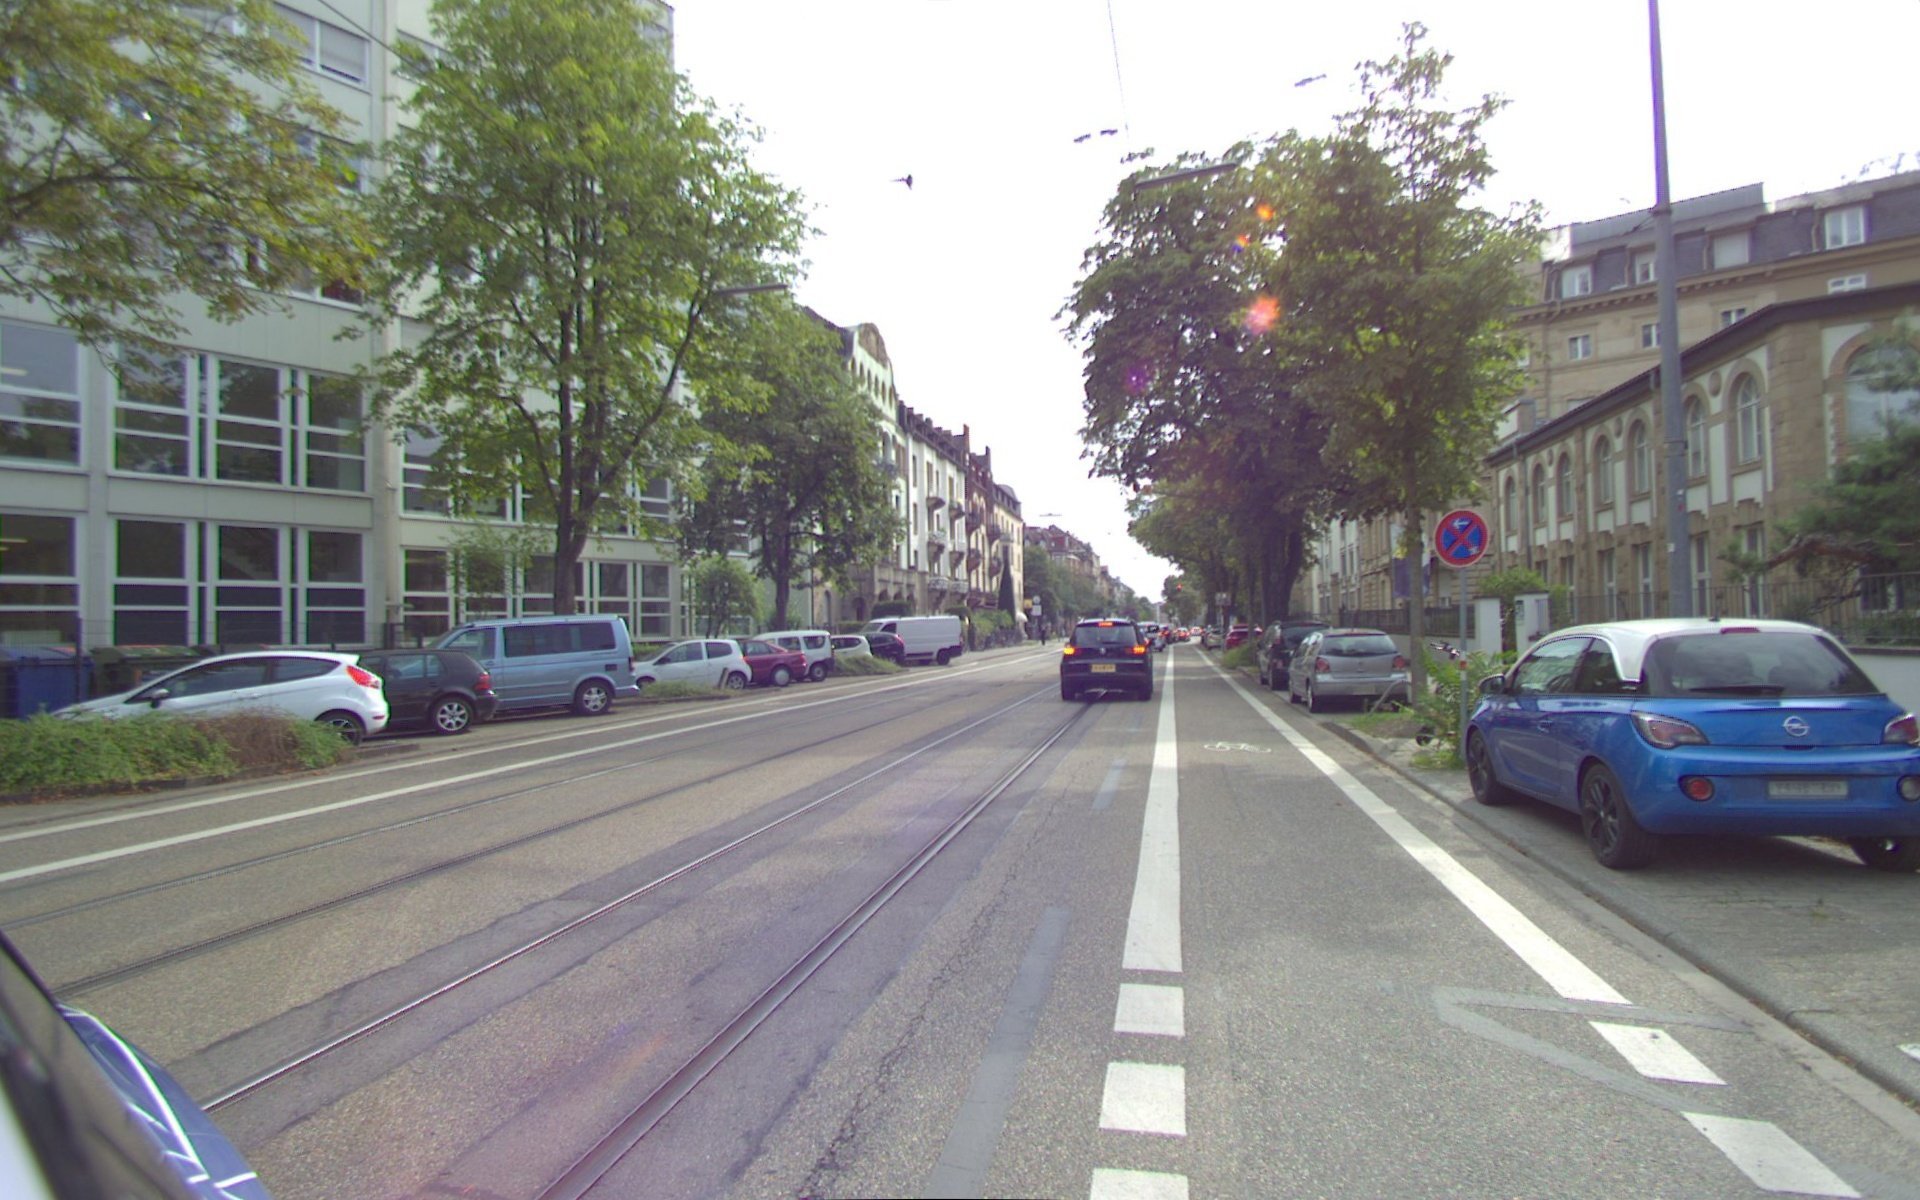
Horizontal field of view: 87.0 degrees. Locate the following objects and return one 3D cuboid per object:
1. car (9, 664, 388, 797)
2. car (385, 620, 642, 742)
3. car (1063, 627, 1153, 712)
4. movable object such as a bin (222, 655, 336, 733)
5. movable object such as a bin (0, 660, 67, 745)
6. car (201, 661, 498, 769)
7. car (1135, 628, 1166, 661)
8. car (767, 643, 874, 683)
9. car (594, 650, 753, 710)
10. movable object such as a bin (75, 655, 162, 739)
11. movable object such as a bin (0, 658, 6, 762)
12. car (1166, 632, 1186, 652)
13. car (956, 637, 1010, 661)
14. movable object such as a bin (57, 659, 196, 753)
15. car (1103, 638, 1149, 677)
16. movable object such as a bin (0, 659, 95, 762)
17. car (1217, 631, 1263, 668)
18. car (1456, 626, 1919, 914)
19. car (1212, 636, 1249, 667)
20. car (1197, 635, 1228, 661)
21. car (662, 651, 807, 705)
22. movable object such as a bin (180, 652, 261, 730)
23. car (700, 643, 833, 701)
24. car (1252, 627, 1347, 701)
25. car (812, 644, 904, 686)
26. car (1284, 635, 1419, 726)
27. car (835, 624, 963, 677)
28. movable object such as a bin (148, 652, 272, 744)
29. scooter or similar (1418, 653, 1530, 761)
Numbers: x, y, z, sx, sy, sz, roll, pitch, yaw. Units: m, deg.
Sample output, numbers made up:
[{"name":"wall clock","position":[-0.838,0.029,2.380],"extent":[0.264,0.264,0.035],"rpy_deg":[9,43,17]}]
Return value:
[{"name":"car","position":[-9.842,1.610,13.418],"extent":[3.798,1.403,1.638],"rpy_deg":[0,-3,-35]},{"name":"car","position":[-8.638,1.477,19.660],"extent":[4.273,2.080,2.005],"rpy_deg":[0,-3,-34]},{"name":"car","position":[3.276,1.428,21.837],"extent":[1.719,1.641,4.362],"rpy_deg":[-1,-2,11]},{"name":"movable object such as a bin","position":[-13.758,1.880,20.490],"extent":[1.323,1.469,1.393],"rpy_deg":[-2,-3,15]},{"name":"movable object such as a bin","position":[-17.832,1.929,19.210],"extent":[1.179,1.525,1.159],"rpy_deg":[-4,-3,40]},{"name":"car","position":[-9.719,1.777,16.295],"extent":[3.906,1.398,1.819],"rpy_deg":[0,-4,-34]},{"name":"car","position":[11.541,2.697,61.488],"extent":[1.718,1.899,4.364],"rpy_deg":[-2,-2,10]},{"name":"car","position":[-5.282,2.371,38.473],"extent":[3.584,1.340,1.772],"rpy_deg":[0,-2,-34]},{"name":"car","position":[-7.368,2.014,26.093],"extent":[3.584,1.340,1.772],"rpy_deg":[0,-2,-34]},{"name":"movable object such as a bin","position":[-16.973,1.927,20.421],"extent":[1.179,1.580,1.159],"rpy_deg":[-4,-3,40]},{"name":"movable object such as a bin","position":[-15.044,1.636,14.588],"extent":[1.318,1.541,1.408],"rpy_deg":[-2,-3,15]},{"name":"car","position":[20.979,4.047,98.408],"extent":[1.781,1.838,4.662],"rpy_deg":[-2,-3,11]},{"name":"car","position":[1.666,3.561,73.909],"extent":[3.584,1.688,1.772],"rpy_deg":[-1,-2,-15]},{"name":"movable object such as a bin","position":[-14.423,1.807,17.547],"extent":[1.323,1.514,1.347],"rpy_deg":[-2,-3,15]},{"name":"car","position":[6.969,2.375,42.131],"extent":[1.719,1.508,4.362],"rpy_deg":[-1,-3,11]},{"name":"movable object such as a bin","position":[-14.902,1.717,16.026],"extent":[1.323,1.515,1.331],"rpy_deg":[-2,-3,15]},{"name":"car","position":[13.014,2.287,47.200],"extent":[1.642,1.646,3.892],"rpy_deg":[-2,-3,11]},{"name":"car","position":[4.905,0.957,7.065],"extent":[1.616,1.476,3.590],"rpy_deg":[-2,-3,11]},{"name":"car","position":[14.860,2.794,55.723],"extent":[1.642,1.613,3.892],"rpy_deg":[-2,-3,11]},{"name":"car","position":[16.457,3.121,66.051],"extent":[1.642,1.646,3.892],"rpy_deg":[-2,-3,11]},{"name":"car","position":[-6.496,2.208,29.177],"extent":[3.705,1.349,1.820],"rpy_deg":[0,-2,-30]},{"name":"movable object such as a bin","position":[-15.860,1.934,21.718],"extent":[1.179,1.580,1.159],"rpy_deg":[-4,-3,40]},{"name":"car","position":[-6.113,2.221,32.012],"extent":[3.705,1.630,1.820],"rpy_deg":[0,-2,-30]},{"name":"car","position":[8.306,1.543,25.050],"extent":[1.642,1.646,3.712],"rpy_deg":[-2,-3,11]},{"name":"car","position":[-4.289,2.679,42.307],"extent":[3.584,1.601,1.772],"rpy_deg":[-1,-2,-15]},{"name":"car","position":[7.068,1.417,18.601],"extent":[1.616,1.476,3.561],"rpy_deg":[-2,-3,11]},{"name":"car","position":[-2.728,2.261,45.789],"extent":[5.346,2.192,2.155],"rpy_deg":[0,-2,-30]},{"name":"movable object such as a bin","position":[-14.035,1.815,18.968],"extent":[1.323,1.608,1.347],"rpy_deg":[-2,-3,15]},{"name":"scooter or similar","position":[5.828,1.217,11.499],"extent":[1.003,1.176,0.365],"rpy_deg":[-6,-5,36]}]
